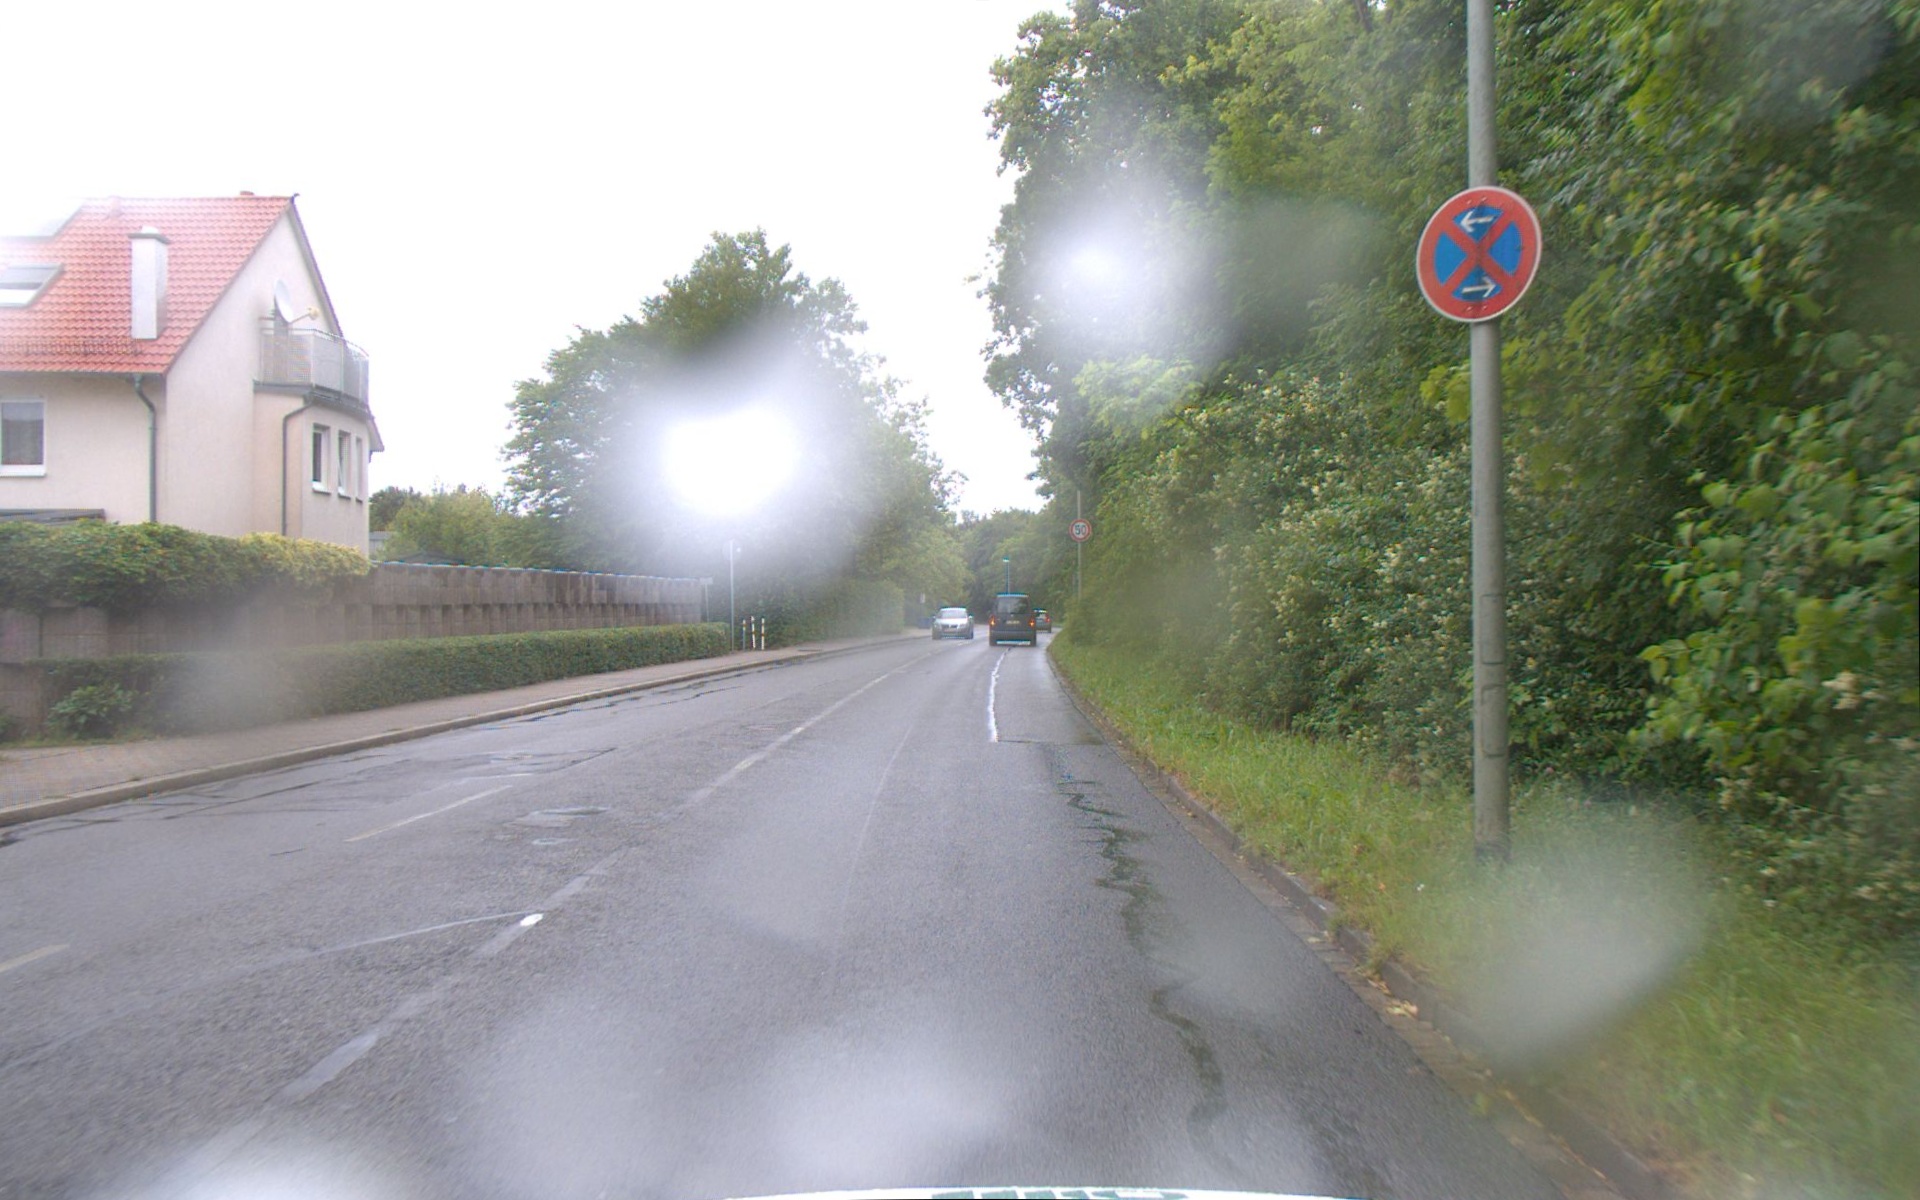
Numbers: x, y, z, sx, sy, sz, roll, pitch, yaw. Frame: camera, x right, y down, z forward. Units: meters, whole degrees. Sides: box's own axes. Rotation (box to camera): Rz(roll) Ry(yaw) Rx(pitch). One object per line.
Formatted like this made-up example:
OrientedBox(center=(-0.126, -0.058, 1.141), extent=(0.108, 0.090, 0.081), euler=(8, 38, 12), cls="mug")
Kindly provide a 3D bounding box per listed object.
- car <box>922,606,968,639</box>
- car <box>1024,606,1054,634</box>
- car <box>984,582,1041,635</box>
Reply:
OrientedBox(center=(-0.673, 1.025, 78.141), extent=(1.952, 1.445, 4.486), euler=(-1, 0, 1), cls="car")
OrientedBox(center=(5.280, 1.330, 111.144), extent=(1.910, 1.780, 4.001), euler=(0, 1, 1), cls="car")
OrientedBox(center=(1.990, 0.280, 61.629), extent=(1.952, 1.825, 4.002), euler=(2, 1, 3), cls="car")
